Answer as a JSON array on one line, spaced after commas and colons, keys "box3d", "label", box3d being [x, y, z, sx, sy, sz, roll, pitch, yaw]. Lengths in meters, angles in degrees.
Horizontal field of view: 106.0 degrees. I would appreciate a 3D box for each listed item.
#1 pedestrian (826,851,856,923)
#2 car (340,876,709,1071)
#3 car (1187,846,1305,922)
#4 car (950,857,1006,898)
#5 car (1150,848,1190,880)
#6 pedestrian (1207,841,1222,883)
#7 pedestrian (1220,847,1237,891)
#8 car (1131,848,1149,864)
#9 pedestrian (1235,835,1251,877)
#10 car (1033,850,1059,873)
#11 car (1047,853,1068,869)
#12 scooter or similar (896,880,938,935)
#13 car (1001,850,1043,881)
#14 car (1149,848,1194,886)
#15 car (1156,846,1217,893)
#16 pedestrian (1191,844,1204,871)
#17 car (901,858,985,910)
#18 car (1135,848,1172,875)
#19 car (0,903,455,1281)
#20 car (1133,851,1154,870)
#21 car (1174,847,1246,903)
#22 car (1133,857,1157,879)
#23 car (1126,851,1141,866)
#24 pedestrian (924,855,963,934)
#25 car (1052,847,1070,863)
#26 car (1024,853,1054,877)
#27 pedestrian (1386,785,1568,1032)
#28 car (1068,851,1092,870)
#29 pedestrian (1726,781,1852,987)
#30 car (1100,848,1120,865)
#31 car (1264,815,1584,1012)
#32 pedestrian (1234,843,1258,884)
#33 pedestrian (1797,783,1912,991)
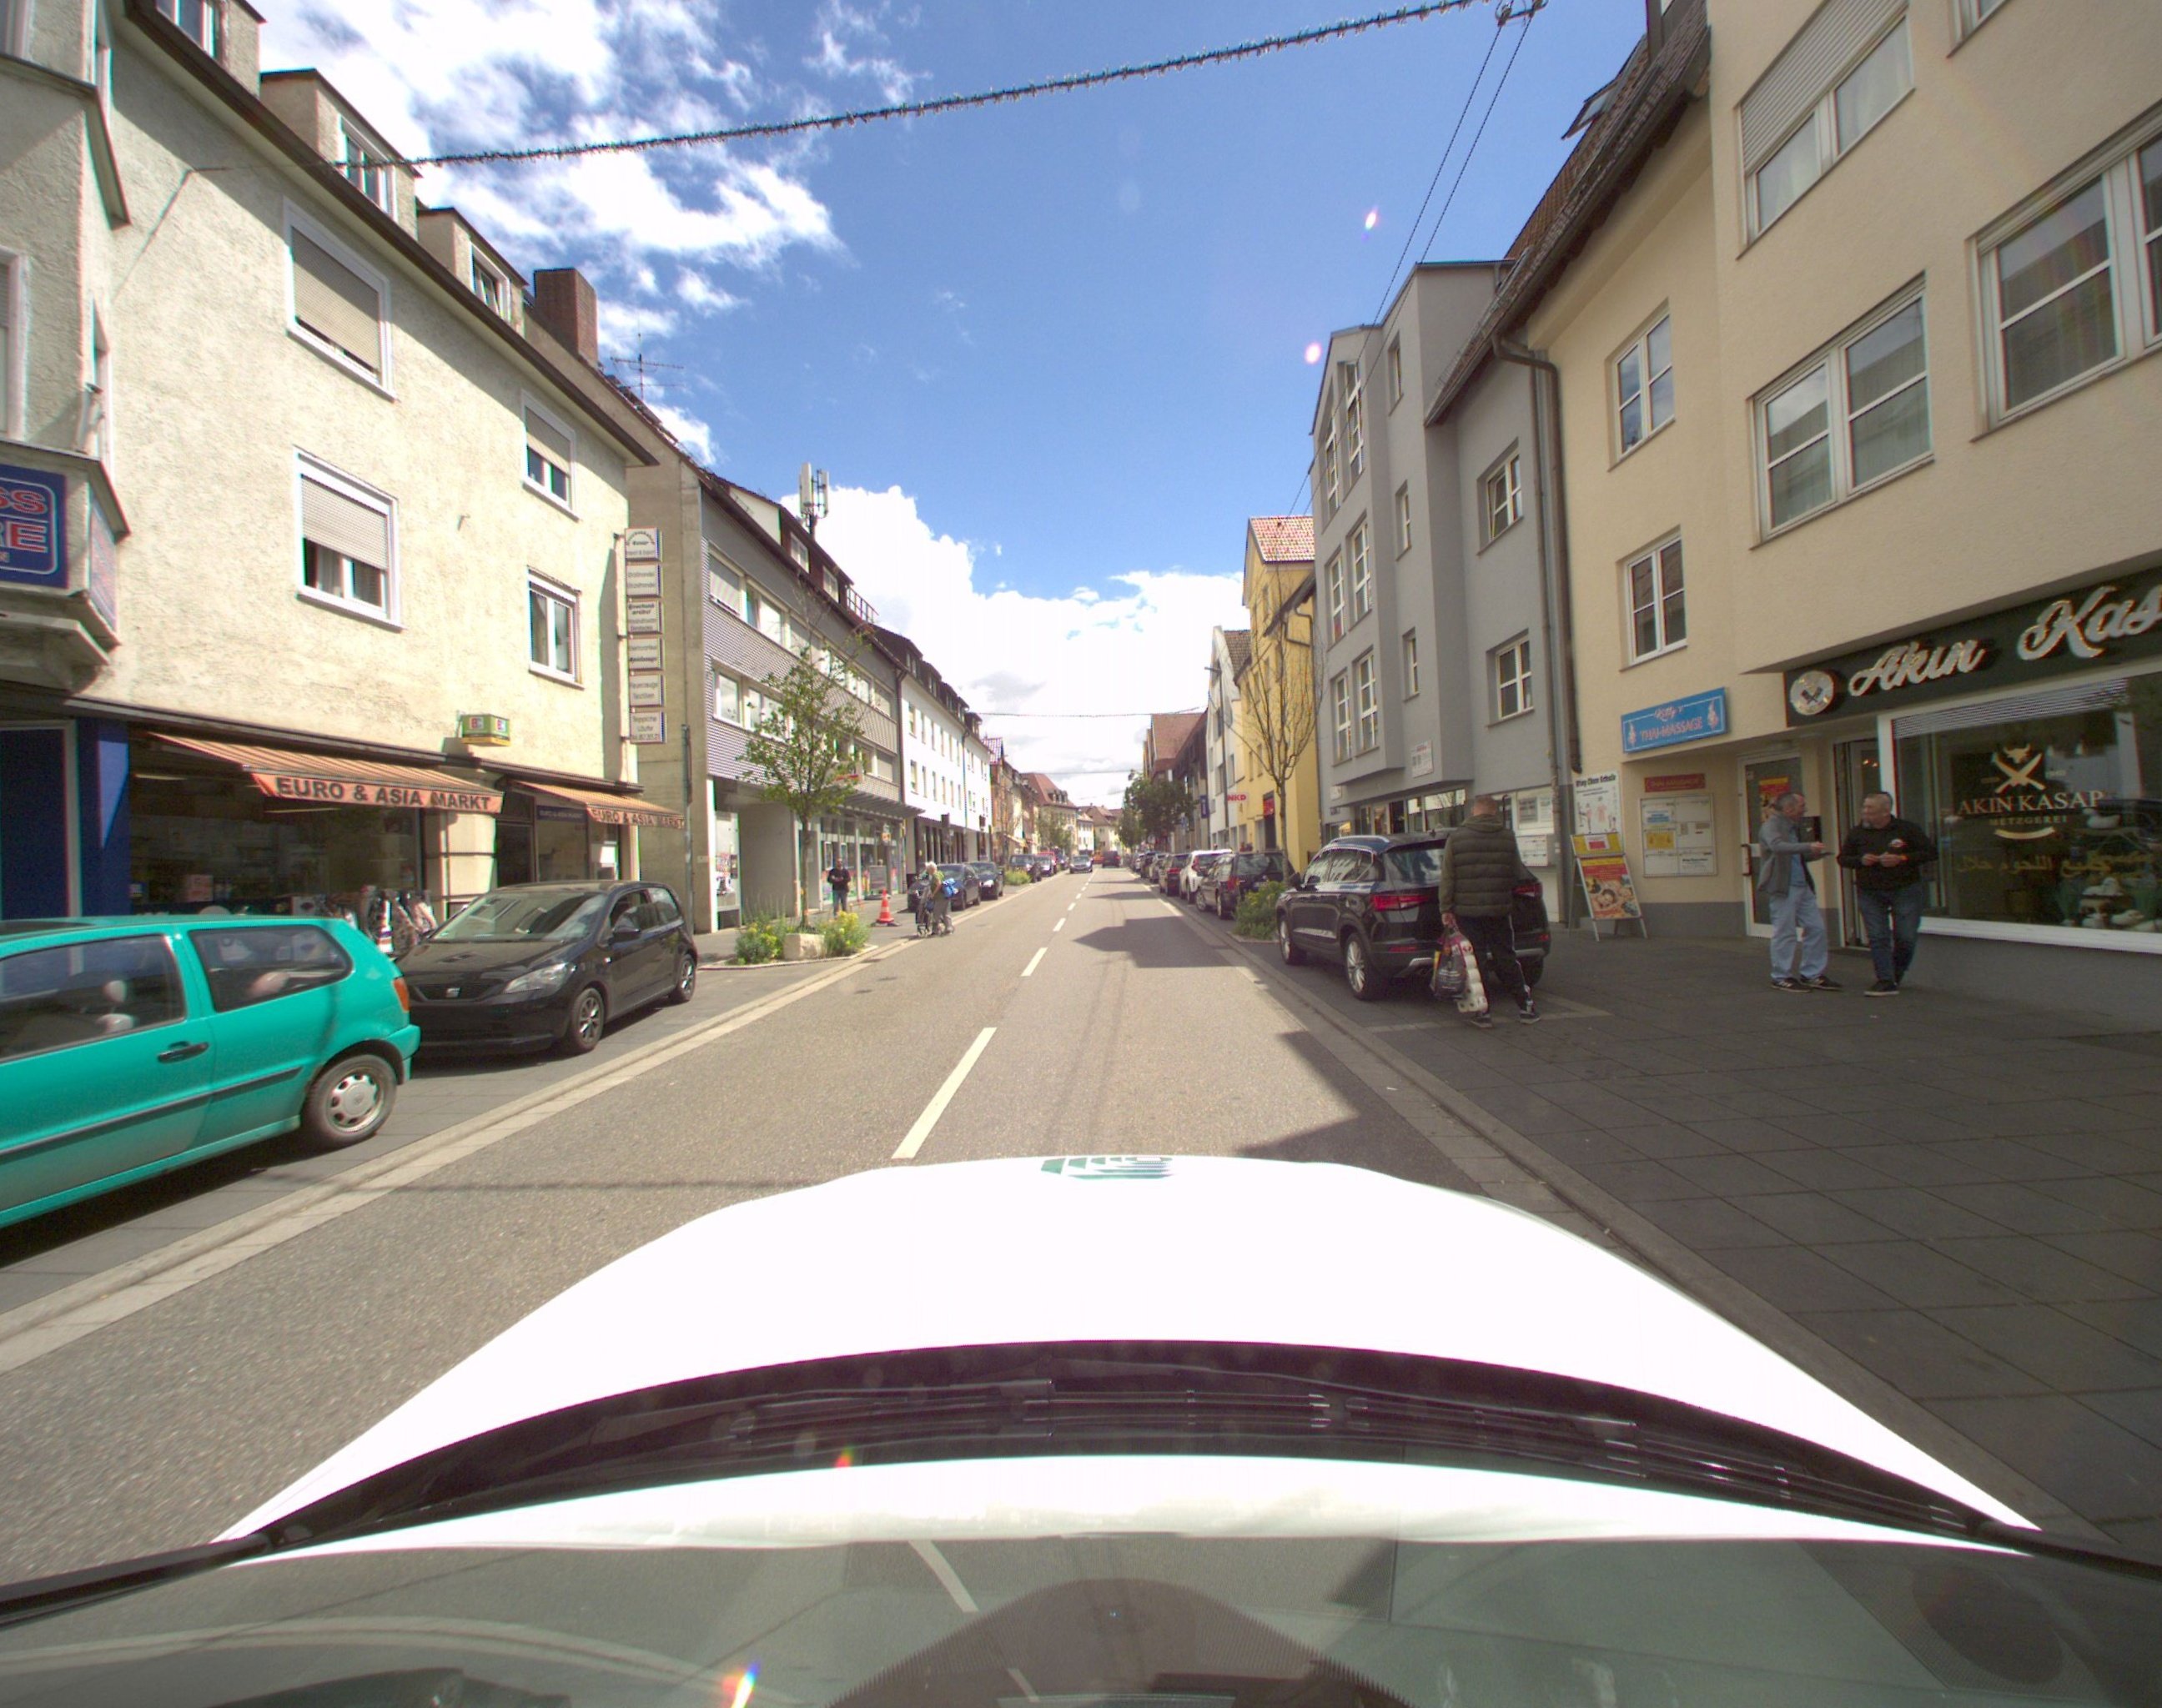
[{"box3d": [-5.995, 0.822, 20.359, 0.546, 1.757, 0.728, -1, -1, -2], "label": "pedestrian"}, {"box3d": [-5.171, 0.972, 8.189, 1.595, 1.446, 3.548, -1, -1, -7], "label": "car"}, {"box3d": [3.709, 0.647, 19.013, 1.685, 1.440, 4.293, -5, -1, -2], "label": "car"}, {"box3d": [-4.070, 0.887, 32.781, 1.785, 1.503, 4.175, -1, 0, -2], "label": "car"}, {"box3d": [4.302, 0.484, 39.949, 1.714, 1.476, 4.357, -1, -1, 3], "label": "car"}, {"box3d": [5.954, 0.352, 36.342, 0.585, 1.841, 0.576, -1, -1, 2], "label": "pedestrian"}, {"box3d": [6.150, 0.623, 33.962, 0.585, 1.841, 0.576, -1, -1, 2], "label": "pedestrian"}, {"box3d": [5.746, 0.187, 80.070, 1.603, 1.532, 3.798, -3, 0, 3], "label": "car"}, {"box3d": [7.209, 0.097, 36.169, 0.585, 1.841, 0.576, -1, -1, 2], "label": "pedestrian"}, {"box3d": [-3.012, 0.631, 70.710, 1.809, 1.889, 4.844, -1, -1, 3], "label": "car"}, {"box3d": [-2.415, 0.674, 83.154, 1.792, 1.598, 4.391, -2, 0, 2], "label": "car"}, {"box3d": [-3.445, 1.117, 17.163, 0.780, 1.126, 0.629, -1, -1, -3], "label": "scooter or similar"}, {"box3d": [-3.542, 0.686, 49.637, 1.808, 1.755, 4.674, -1, -1, 5], "label": "car"}, {"box3d": [3.787, 0.545, 34.860, 1.623, 1.476, 4.961, -1, -1, 3], "label": "car"}, {"box3d": [3.703, 0.492, 29.335, 1.683, 1.472, 4.525, -1, 1, 1], "label": "car"}, {"box3d": [7.561, 0.231, 52.924, 0.738, 1.737, 0.757, -1, -1, 2], "label": "pedestrian"}, {"box3d": [-4.453, 0.918, 26.956, 1.783, 1.513, 4.714, -2, 0, 2], "label": "car"}, {"box3d": [4.332, 0.462, 49.166, 1.716, 1.577, 4.106, -1, -1, -2], "label": "car"}, {"box3d": [-5.121, 1.027, 3.671, 1.579, 1.414, 3.672, -1, -1, 4], "label": "car"}, {"box3d": [5.273, 0.559, 69.403, 1.714, 1.494, 4.112, -1, -1, 3], "label": "car"}, {"box3d": [3.845, 0.612, 24.802, 1.683, 1.574, 3.757, -1, -1, 2], "label": "car"}, {"box3d": [4.965, 1.089, 63.735, 1.714, 1.577, 4.432, -1, -1, 3], "label": "car"}, {"box3d": [5.926, 0.459, 92.239, 1.603, 1.495, 3.798, -5, 0, 3], "label": "car"}, {"box3d": [-2.905, 0.843, 17.216, 0.729, 1.618, 0.650, -1, -1, -3], "label": "pedestrian"}, {"box3d": [-2.168, 0.087, 88.950, 1.794, 1.604, 4.349, -2, 0, -1], "label": "car"}, {"box3d": [-3.202, 0.853, 62.792, 1.808, 1.755, 4.467, -1, -1, 3], "label": "car"}, {"box3d": [3.253, 0.427, 6.798, 0.972, 1.863, 0.864, -4, -1, 0], "label": "pedestrian"}, {"box3d": [-0.056, 0.569, 69.715, 1.898, 1.563, 4.648, -1, -1, 2], "label": "car"}, {"box3d": [6.157, 0.252, 7.112, 0.533, 1.718, 0.606, -1, -1, 0], "label": "pedestrian"}, {"box3d": [3.180, 0.336, 90.983, 2.034, 1.848, 4.998, -1, -1, 0], "label": "car"}, {"box3d": [3.470, 0.513, 9.216, 1.793, 1.603, 4.204, -4, 0, 0], "label": "car"}, {"box3d": [6.458, 0.354, 31.885, 0.747, 1.553, 0.726, -3, -1, 1], "label": "pedestrian"}, {"box3d": [6.646, 0.273, 7.019, 0.434, 1.718, 0.537, -1, -1, -1], "label": "pedestrian"}]
